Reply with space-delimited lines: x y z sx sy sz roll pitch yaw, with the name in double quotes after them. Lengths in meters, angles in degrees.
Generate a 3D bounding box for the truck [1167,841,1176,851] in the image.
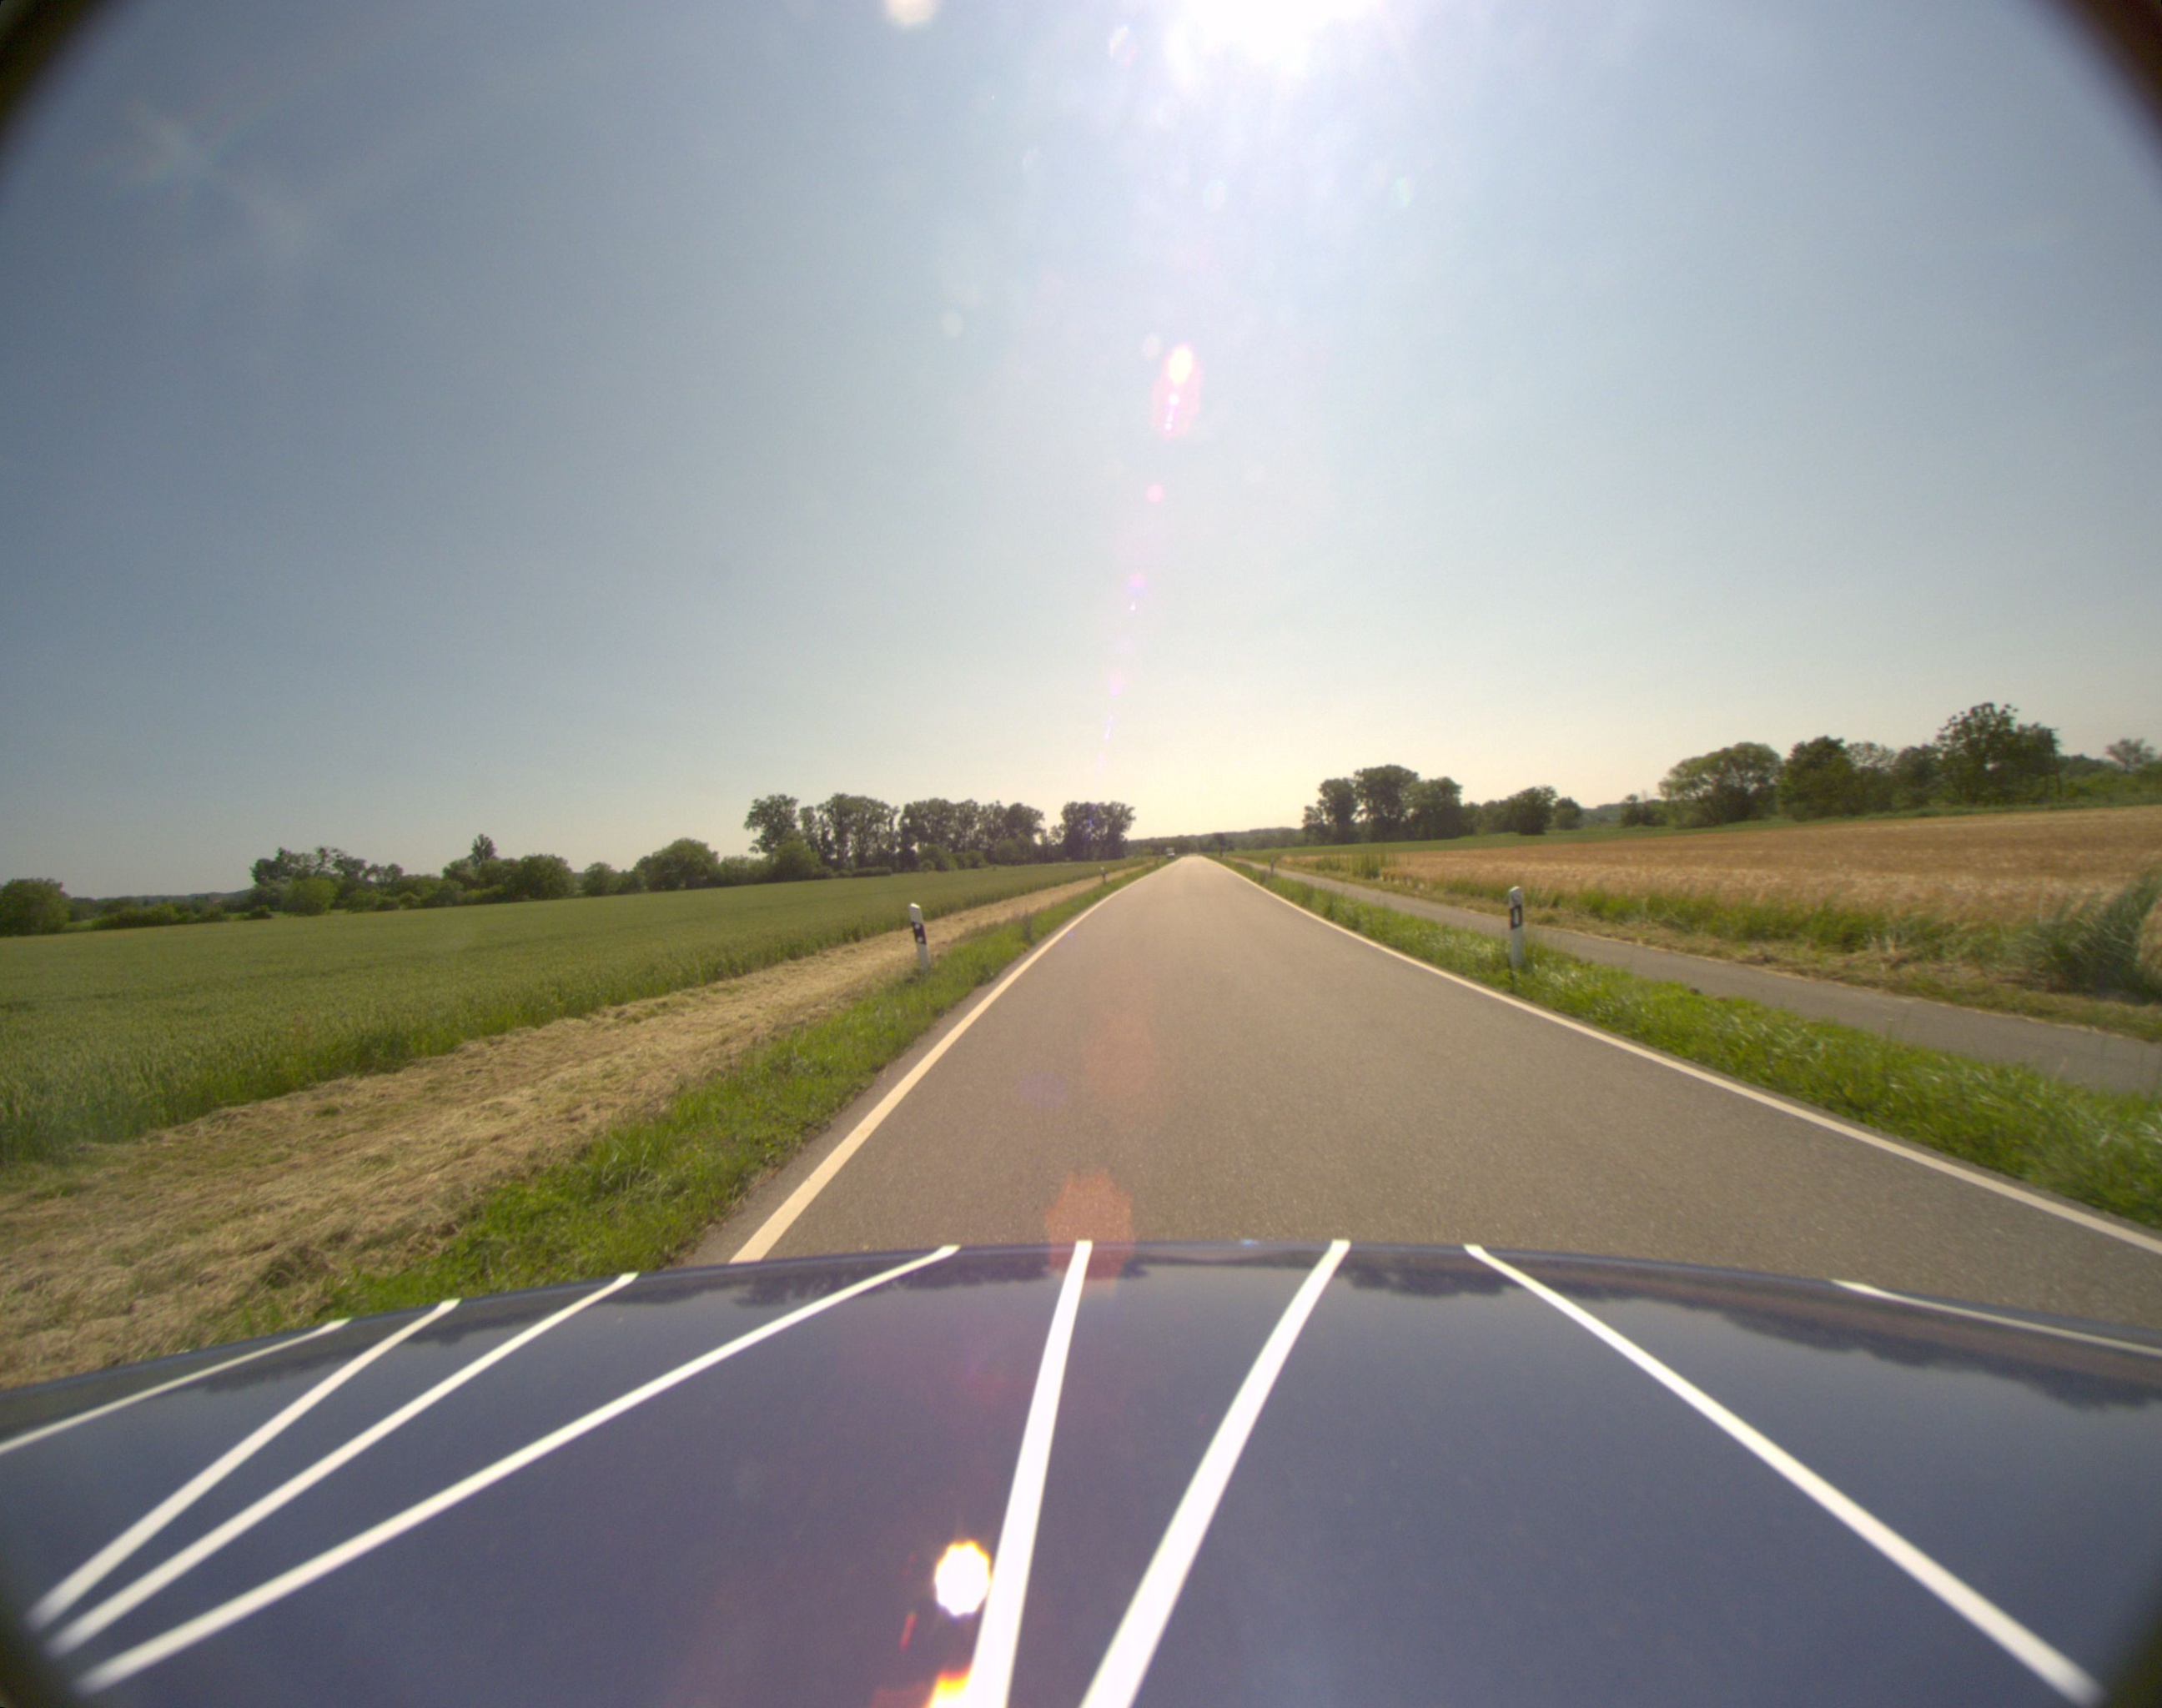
25.433 -2.273 212.984 1.997 2.821 5.220 -4 0 9 "truck"

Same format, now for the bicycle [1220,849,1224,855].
28.996 -0.408 156.543 0.742 1.165 2.084 -4 0 9 "bicycle"

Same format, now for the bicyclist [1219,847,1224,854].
28.968 -0.695 156.546 0.742 1.487 1.003 -4 0 9 "bicyclist"
